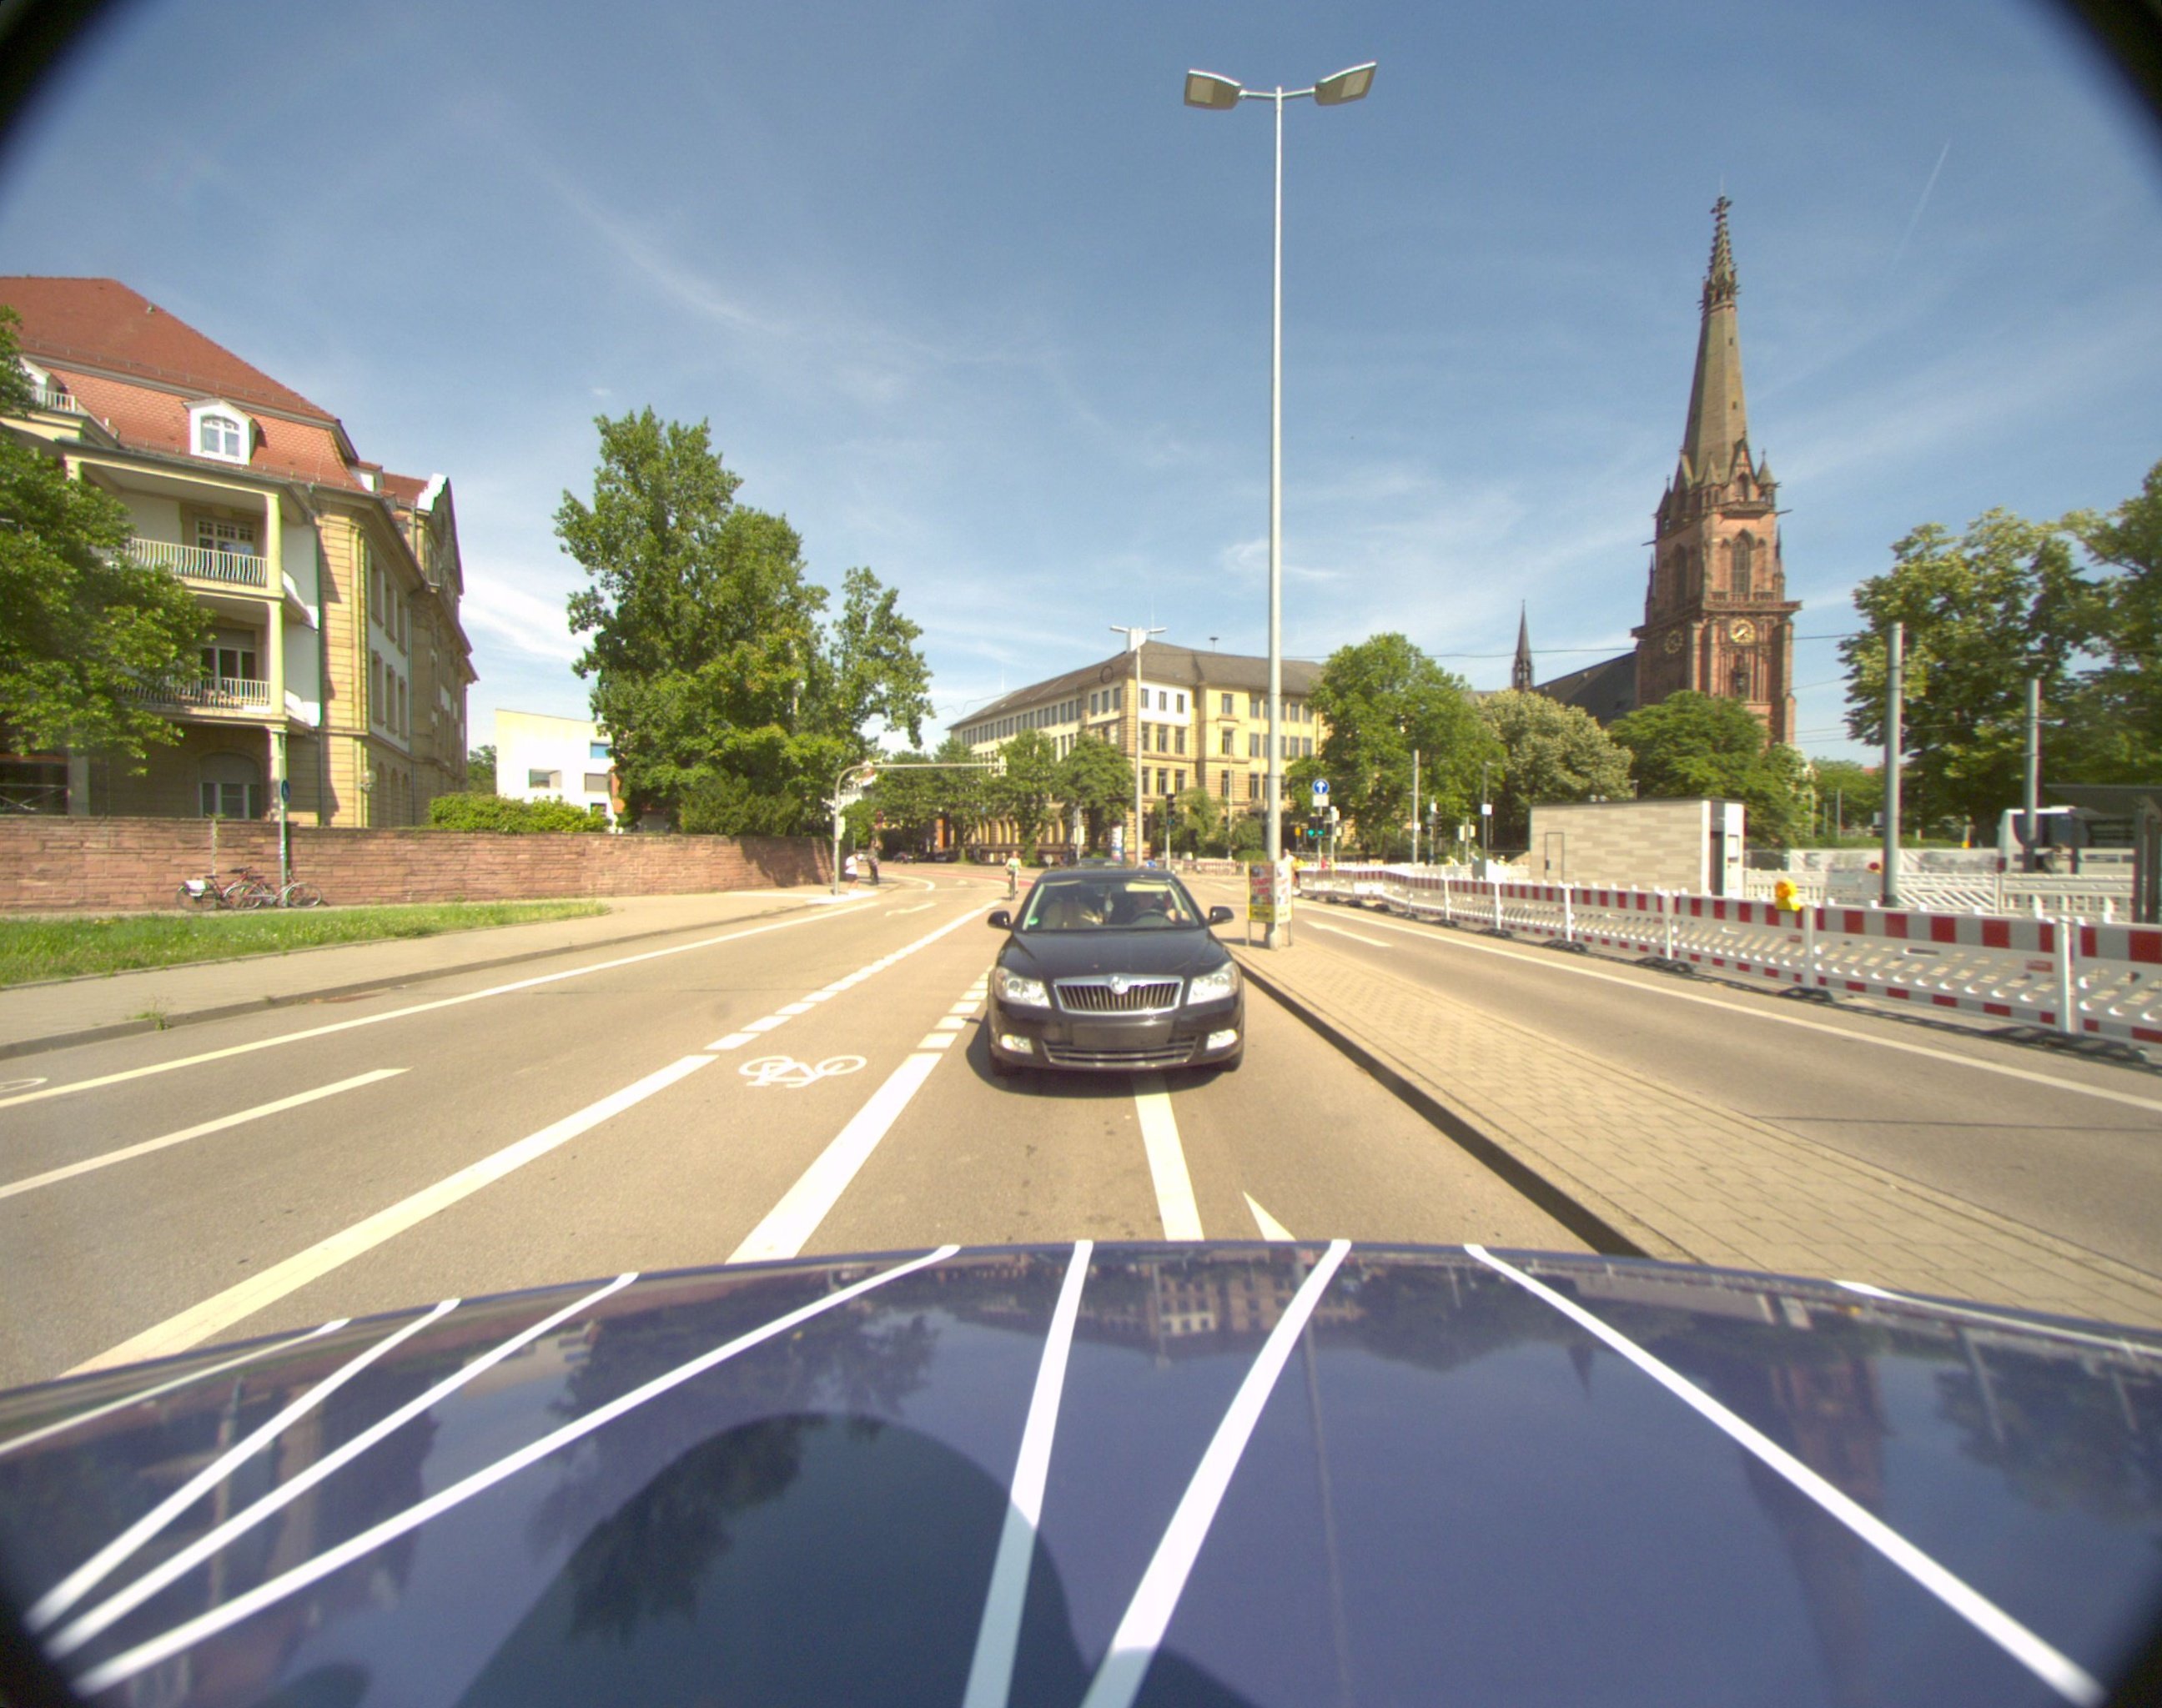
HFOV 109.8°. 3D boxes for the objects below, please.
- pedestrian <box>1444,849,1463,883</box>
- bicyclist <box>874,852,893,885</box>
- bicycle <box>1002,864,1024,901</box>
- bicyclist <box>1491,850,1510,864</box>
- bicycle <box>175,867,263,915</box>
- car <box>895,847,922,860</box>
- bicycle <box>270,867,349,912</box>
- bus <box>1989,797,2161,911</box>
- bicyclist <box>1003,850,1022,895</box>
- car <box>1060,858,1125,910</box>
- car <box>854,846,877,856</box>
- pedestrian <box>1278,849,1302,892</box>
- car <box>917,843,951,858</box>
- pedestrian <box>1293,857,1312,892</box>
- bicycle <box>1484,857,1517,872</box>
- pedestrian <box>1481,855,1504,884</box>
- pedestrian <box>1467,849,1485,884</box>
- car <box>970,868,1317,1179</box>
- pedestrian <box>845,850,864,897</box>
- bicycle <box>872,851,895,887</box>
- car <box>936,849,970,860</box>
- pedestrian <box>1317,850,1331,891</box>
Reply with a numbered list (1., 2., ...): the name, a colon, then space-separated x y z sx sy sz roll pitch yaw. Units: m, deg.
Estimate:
1. pedestrian: 17.385 0.554 35.473 0.661 1.606 0.795 0 1 18
2. bicyclist: -10.092 0.713 38.837 0.680 1.646 0.919 1 1 1
3. bicycle: -2.373 0.991 26.857 0.686 1.215 2.185 0 1 -3
4. bicyclist: 26.511 0.186 47.994 0.684 0.922 0.867 -1 1 -38
5. bicycle: -21.450 0.898 18.937 0.348 1.116 1.437 1 1 15
6. car: -20.779 -0.123 91.481 1.675 1.442 3.806 1 1 -40
7. bicycle: -20.484 0.925 20.199 0.348 1.116 1.438 1 1 35
8. bus: 35.829 0.021 21.583 2.867 3.469 12.624 0 1 -34
9. bicyclist: -2.411 0.643 26.806 0.588 1.539 0.931 -2 2 -2
10. car: 0.294 0.869 23.613 1.802 1.368 4.275 -1 1 -1
11. car: -30.200 -0.434 106.435 1.803 1.403 3.988 1 1 -35
12. pedestrian: 8.897 0.680 32.358 0.839 1.802 0.651 0 1 34
13. car: -20.057 -0.460 103.666 4.008 2.002 1.994 0 1 -35
14. pedestrian: 10.129 0.924 34.740 0.668 1.534 0.423 -3 1 -8
15. bicycle: 26.501 0.645 47.998 0.703 0.941 1.661 -1 1 -39
16. pedestrian: 23.740 0.893 43.816 0.939 1.646 0.845 0 1 9
17. pedestrian: 18.605 0.580 35.776 0.584 1.606 0.691 0 1 41
18. car: 0.287 0.962 6.509 1.864 1.510 4.825 0 1 -1
19. pedestrian: -9.149 0.775 30.671 0.654 1.863 0.795 2 1 -18
20. bicycle: -10.081 0.746 38.754 0.680 1.755 1.811 1 1 1
21. car: -16.834 0.077 100.125 4.008 1.455 1.994 0 1 -35
22. pedestrian: 9.755 0.643 30.512 0.350 1.606 0.686 0 1 2
